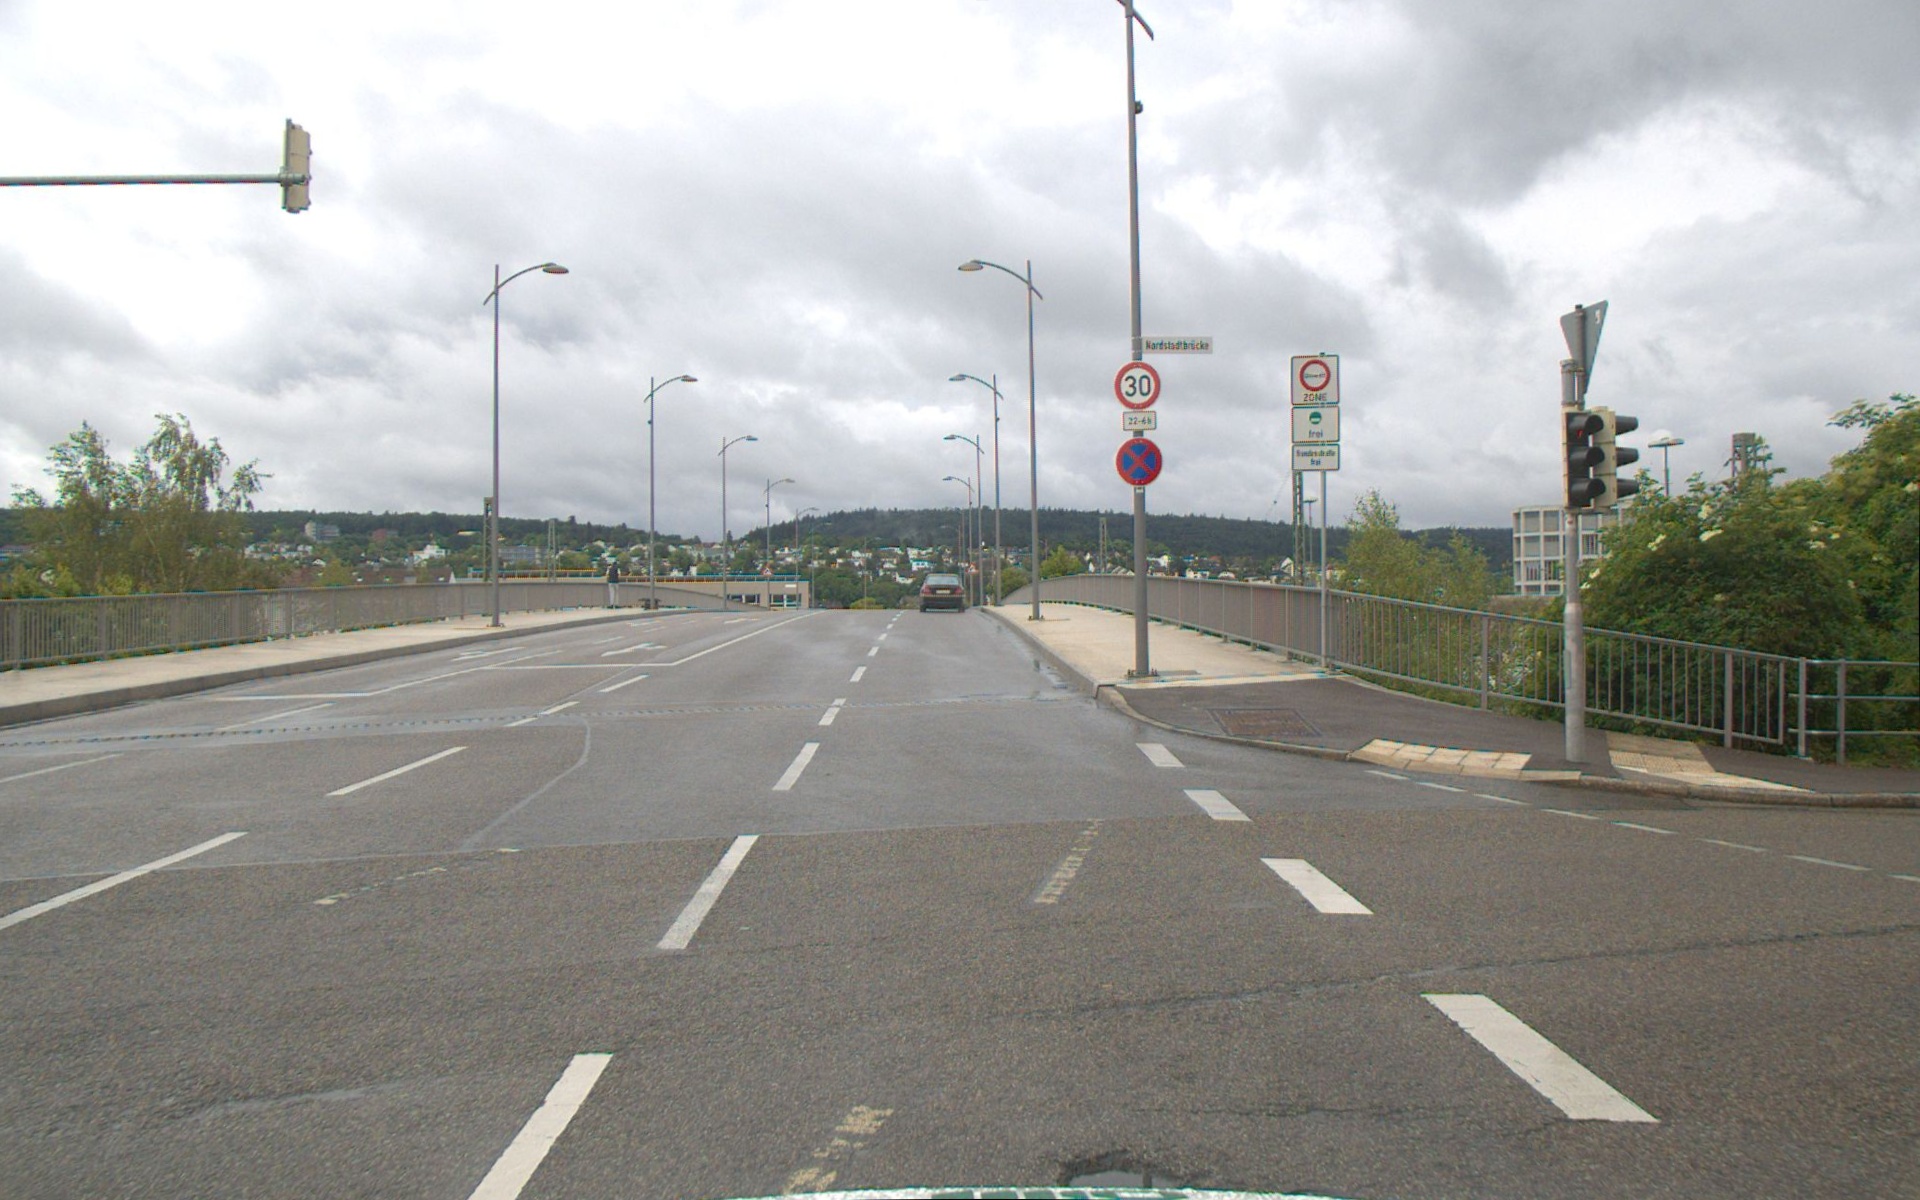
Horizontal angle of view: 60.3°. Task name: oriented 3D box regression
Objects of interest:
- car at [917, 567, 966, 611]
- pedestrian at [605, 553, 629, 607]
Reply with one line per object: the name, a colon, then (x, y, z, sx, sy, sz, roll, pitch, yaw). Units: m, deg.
car: (-0.692, -0.390, 61.523, 1.718, 1.505, 3.999, -1, -1, -1)
pedestrian: (-13.490, -0.766, 65.003, 0.741, 2.084, 0.891, -1, -1, -1)
